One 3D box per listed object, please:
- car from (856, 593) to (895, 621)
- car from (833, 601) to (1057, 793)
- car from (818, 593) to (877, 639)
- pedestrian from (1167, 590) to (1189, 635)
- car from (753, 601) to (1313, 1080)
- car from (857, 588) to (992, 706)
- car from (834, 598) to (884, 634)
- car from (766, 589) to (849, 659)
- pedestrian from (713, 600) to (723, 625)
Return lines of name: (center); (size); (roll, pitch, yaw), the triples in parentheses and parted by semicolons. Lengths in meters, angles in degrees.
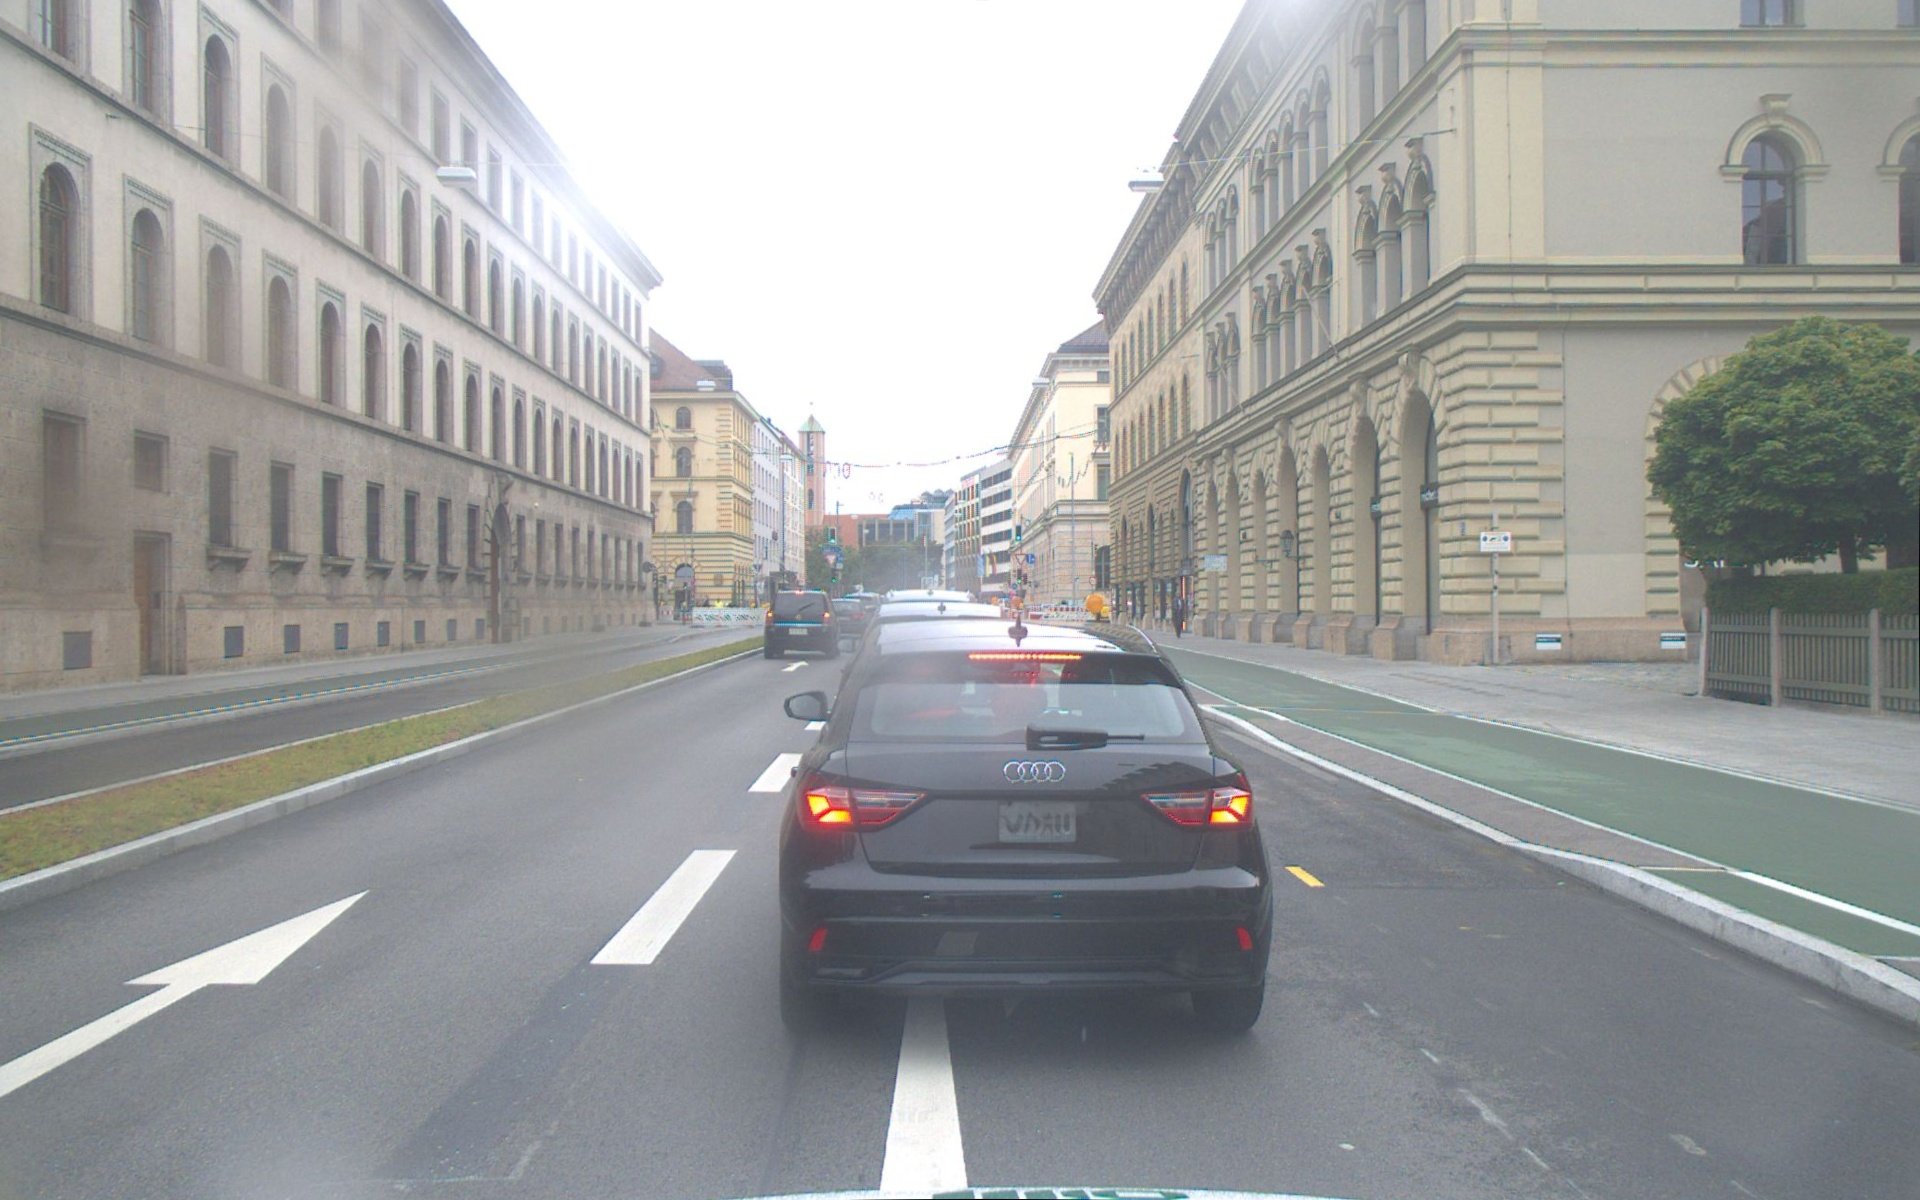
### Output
car: (-4.523, 0.355, 88.754); (1.953, 1.469, 3.999); (0, 0, -1)
car: (-0.152, 0.747, 14.663); (1.695, 1.427, 3.999); (1, 0, -1)
car: (-4.132, 0.563, 61.188); (1.953, 1.656, 3.999); (0, 0, -1)
pedestrian: (8.138, 0.463, 61.650); (0.695, 1.646, 0.754); (0, 0, -2)
car: (0.190, 0.739, 7.059); (1.695, 1.427, 3.999); (1, 0, -1)
car: (-0.493, 0.591, 23.042); (1.695, 1.486, 3.999); (1, 0, -1)
car: (-4.285, 0.661, 70.901); (1.953, 1.469, 3.999); (0, 0, -1)
car: (-3.728, 0.560, 40.931); (1.729, 1.644, 4.029); (1, 0, -1)
pedestrian: (-18.203, 0.933, 124.477); (0.642, 1.836, 0.727); (0, 0, -2)
